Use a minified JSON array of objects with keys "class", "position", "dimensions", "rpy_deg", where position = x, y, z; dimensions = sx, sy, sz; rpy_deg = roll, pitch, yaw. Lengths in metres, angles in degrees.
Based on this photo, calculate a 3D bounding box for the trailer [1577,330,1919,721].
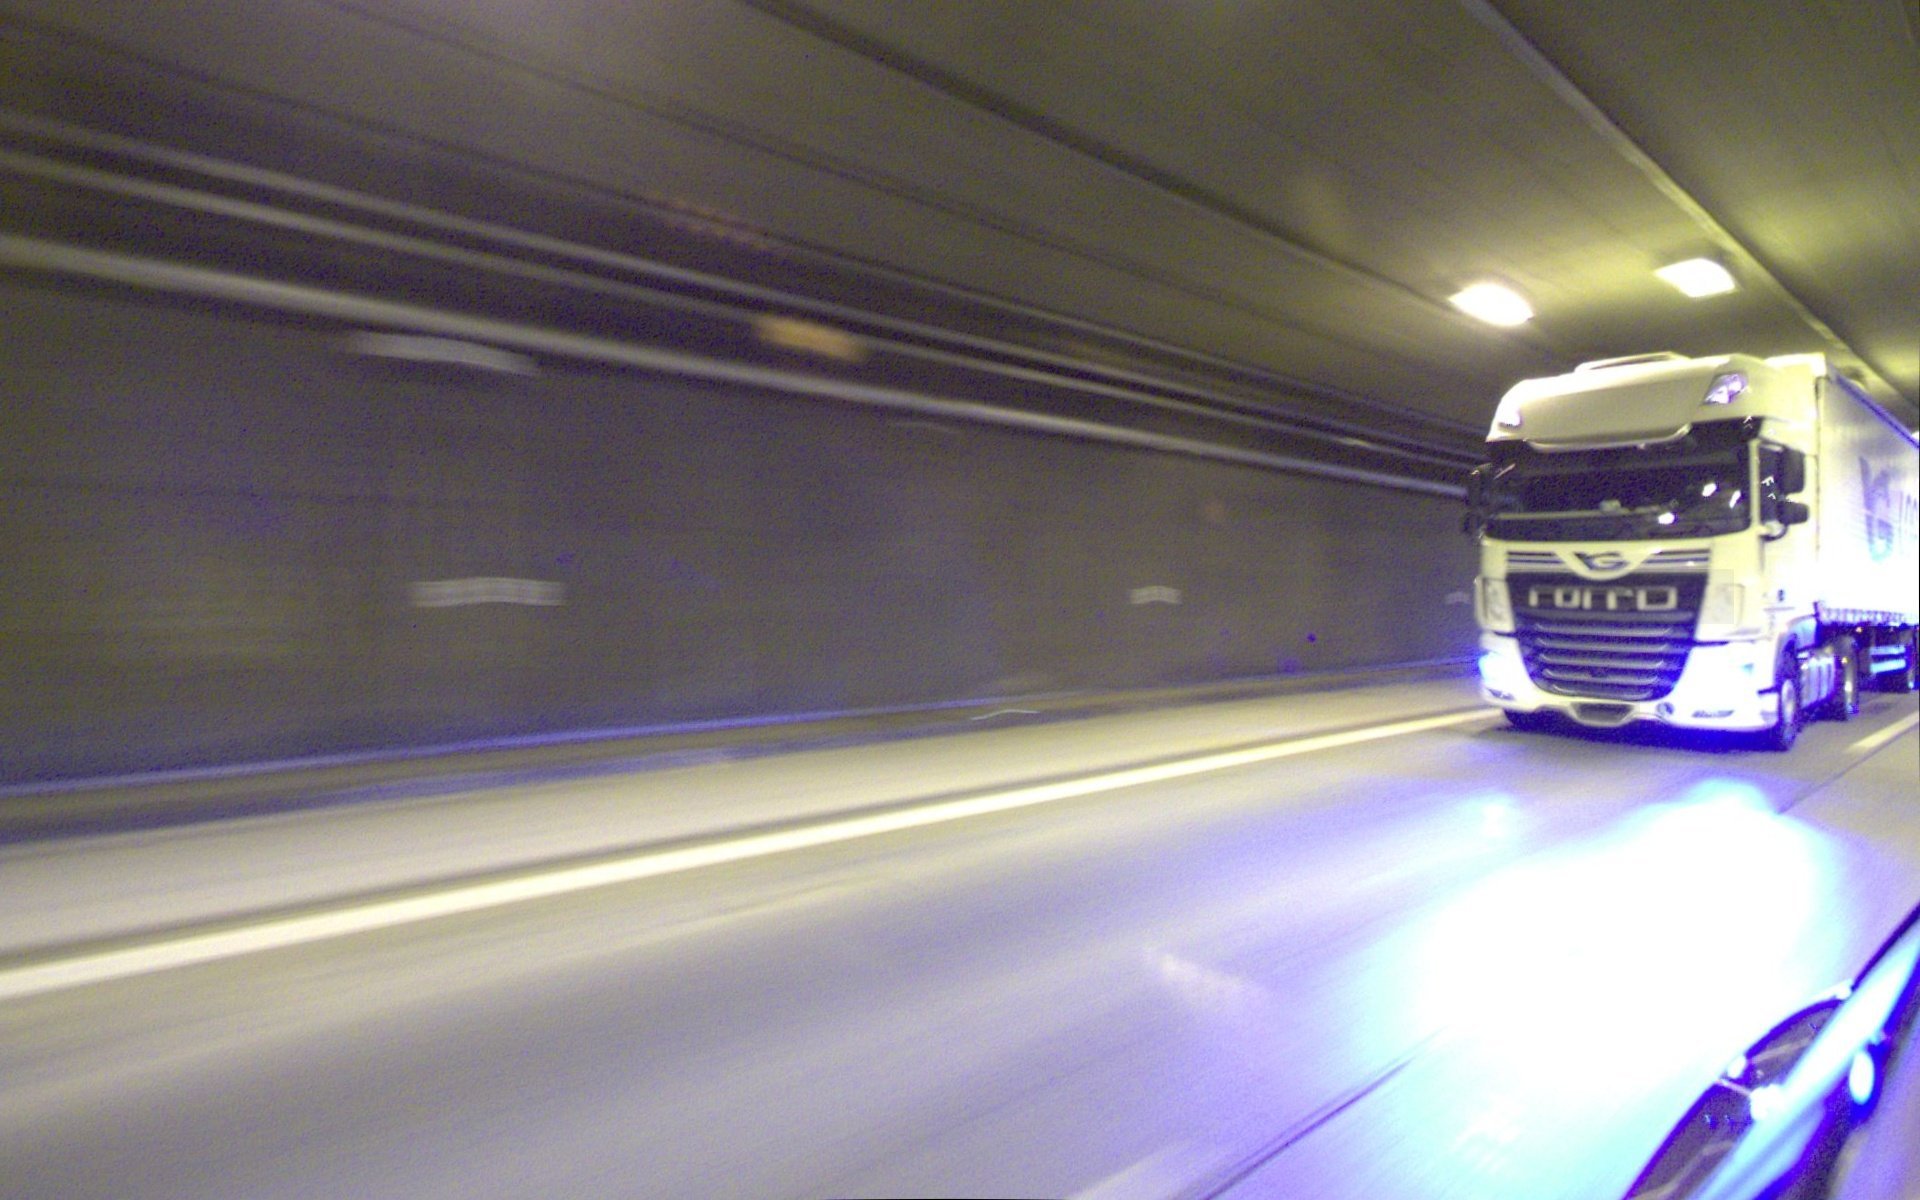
[{"class":"trailer","position":[14.034,-0.833,16.330],"dimensions":[13.752,4.216,2.625],"rpy_deg":[0,-1,-40]}]

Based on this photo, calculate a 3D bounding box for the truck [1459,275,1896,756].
[{"class":"truck","position":[8.519,-0.761,11.763],"dimensions":[5.897,4.216,2.652],"rpy_deg":[0,0,-39]}]
